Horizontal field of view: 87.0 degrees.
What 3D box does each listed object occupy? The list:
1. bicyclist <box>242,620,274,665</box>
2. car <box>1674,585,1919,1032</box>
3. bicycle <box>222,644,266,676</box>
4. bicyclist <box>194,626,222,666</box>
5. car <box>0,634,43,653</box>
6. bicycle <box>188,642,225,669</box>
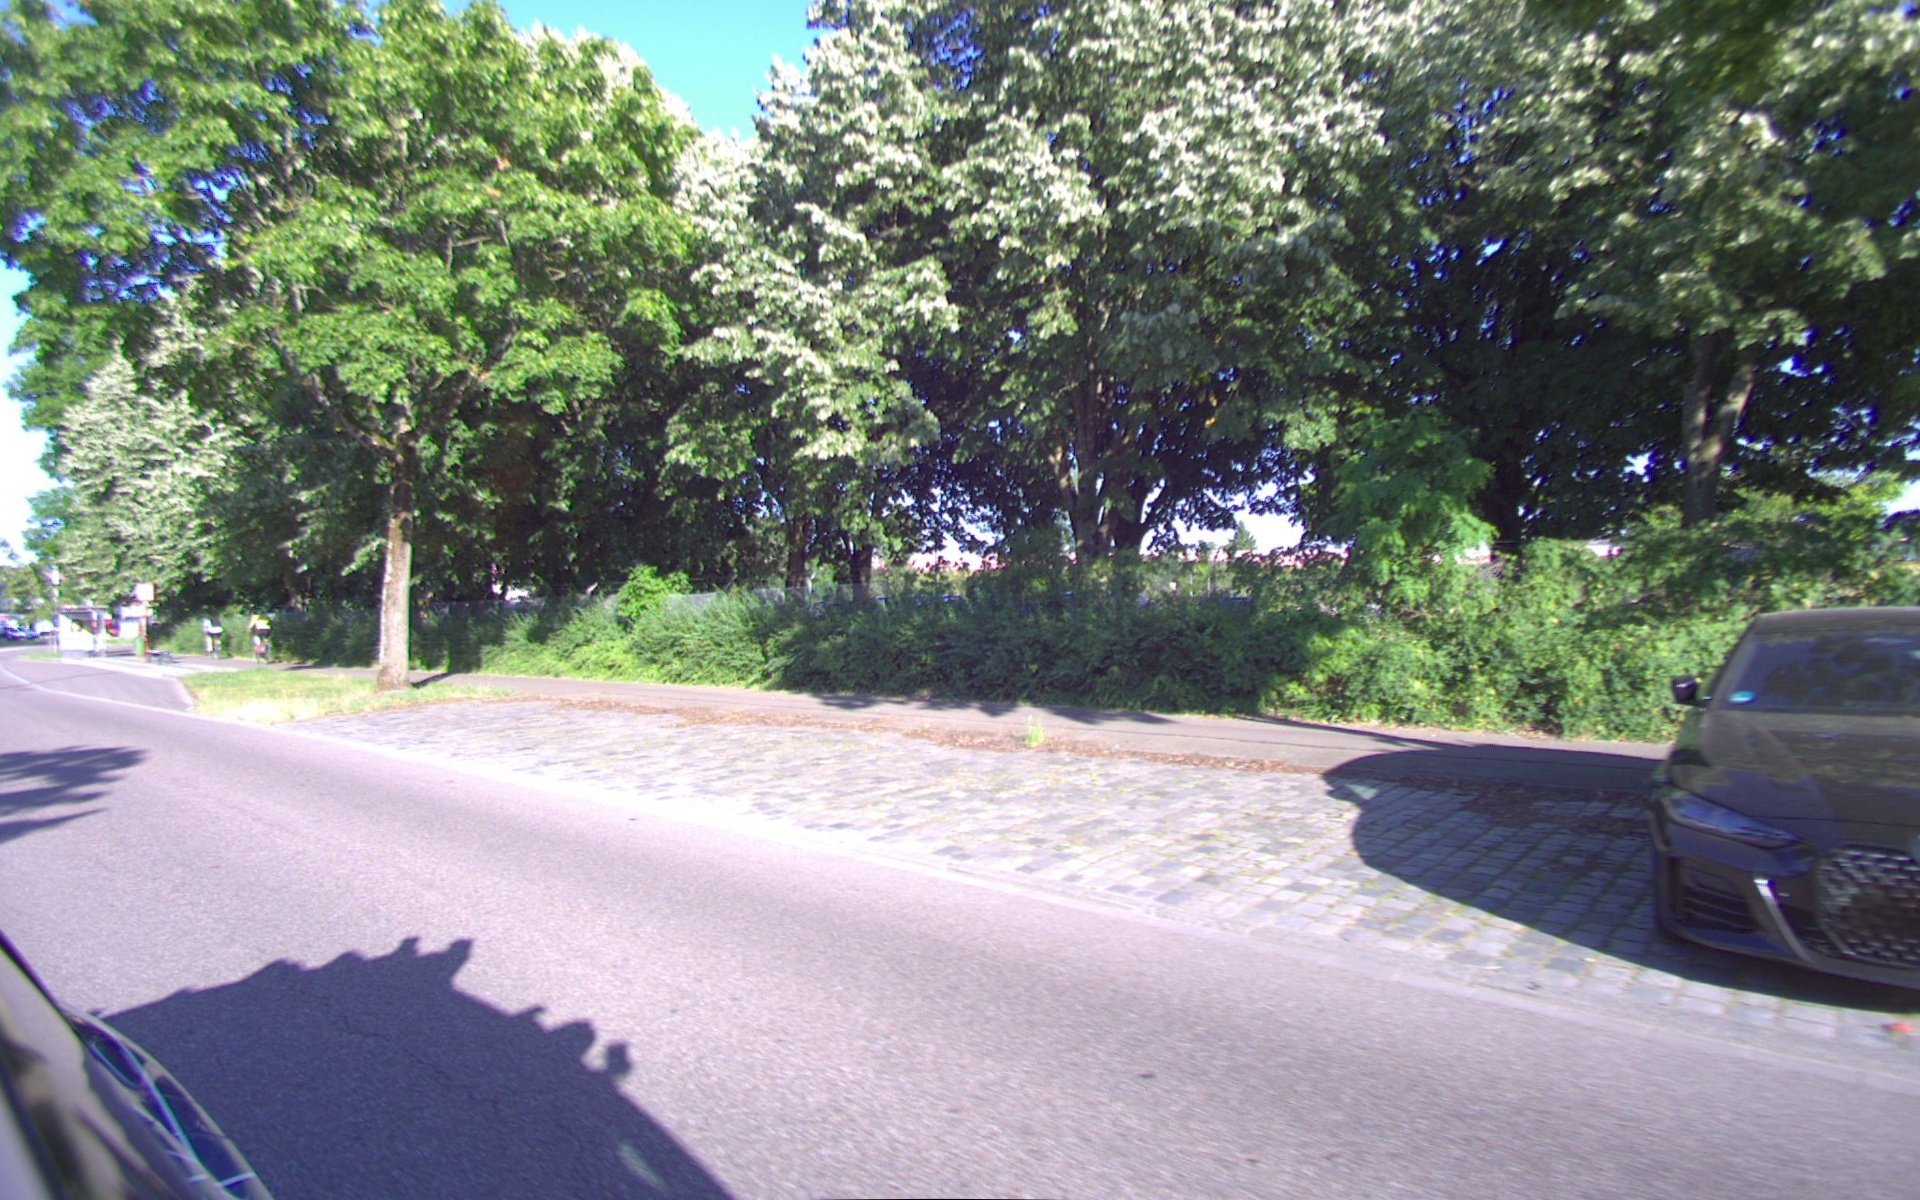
[{"bbox_3d":[-24.568,1.465,35.422,0.951,1.541,0.723,-2,-2,41],"label":"bicyclist"},{"bbox_3d":[4.953,0.692,5.082,1.914,1.432,4.604,-2,0,39],"label":"car"},{"bbox_3d":[-24.722,2.053,34.921,2.216,1.047,0.757,-2,-2,41],"label":"bicycle"},{"bbox_3d":[-29.917,1.819,40.265,0.951,1.541,0.723,-2,-2,41],"label":"bicyclist"},{"bbox_3d":[-106.033,4.851,112.861,5.205,2.029,2.410,-1,-2,-9],"label":"car"},{"bbox_3d":[-30.271,2.227,40.660,2.216,1.047,0.757,-2,-2,41],"label":"bicycle"}]
